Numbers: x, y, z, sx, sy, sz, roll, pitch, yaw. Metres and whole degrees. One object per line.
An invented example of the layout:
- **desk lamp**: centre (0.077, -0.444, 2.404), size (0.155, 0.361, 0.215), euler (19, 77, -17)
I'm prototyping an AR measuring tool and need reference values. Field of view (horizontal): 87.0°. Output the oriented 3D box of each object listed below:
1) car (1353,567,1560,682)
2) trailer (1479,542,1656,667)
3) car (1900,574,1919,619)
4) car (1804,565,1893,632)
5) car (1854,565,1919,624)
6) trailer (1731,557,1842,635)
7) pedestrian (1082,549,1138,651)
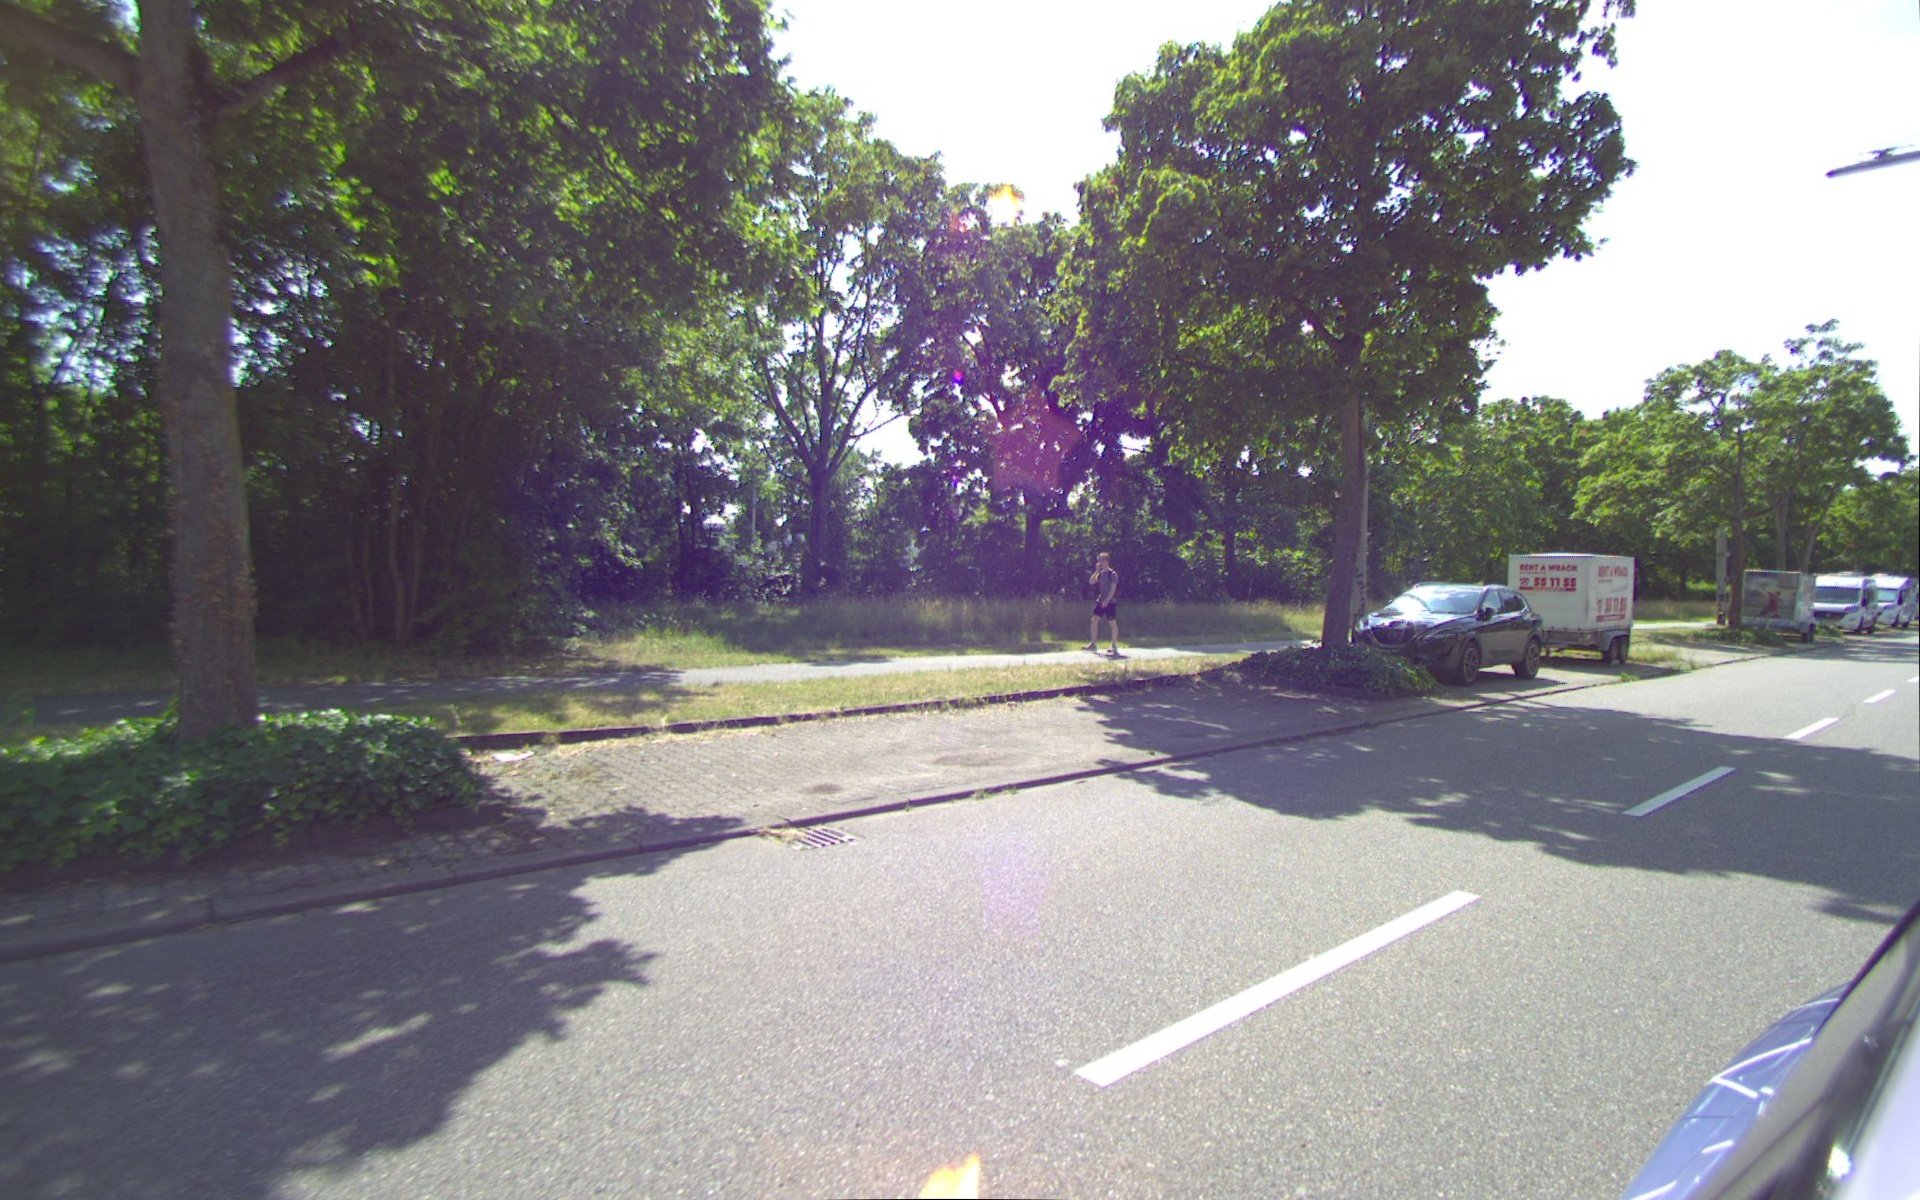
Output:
- **car**: centre (8.552, 0.326, 17.277), size (4.286, 1.711, 1.594), euler (-1, 3, -41)
- **trailer**: centre (13.067, 0.029, 21.654), size (4.528, 2.380, 1.956), euler (-1, 3, -43)
- **car**: centre (59.302, -0.212, 61.672), size (6.652, 2.571, 2.261), euler (-1, 4, -42)
- **car**: centre (38.893, -0.100, 44.244), size (6.046, 2.729, 2.178), euler (-1, 0, -42)
- **car**: centre (48.820, -0.344, 52.854), size (6.652, 2.836, 2.261), euler (-1, 4, -42)
- **trailer**: centre (28.602, -0.184, 34.969), size (4.699, 2.393, 1.999), euler (-1, 6, -41)
- **pedestrian**: centre (2.750, -0.002, 18.551), size (0.727, 1.816, 0.718), euler (0, 0, -41)
